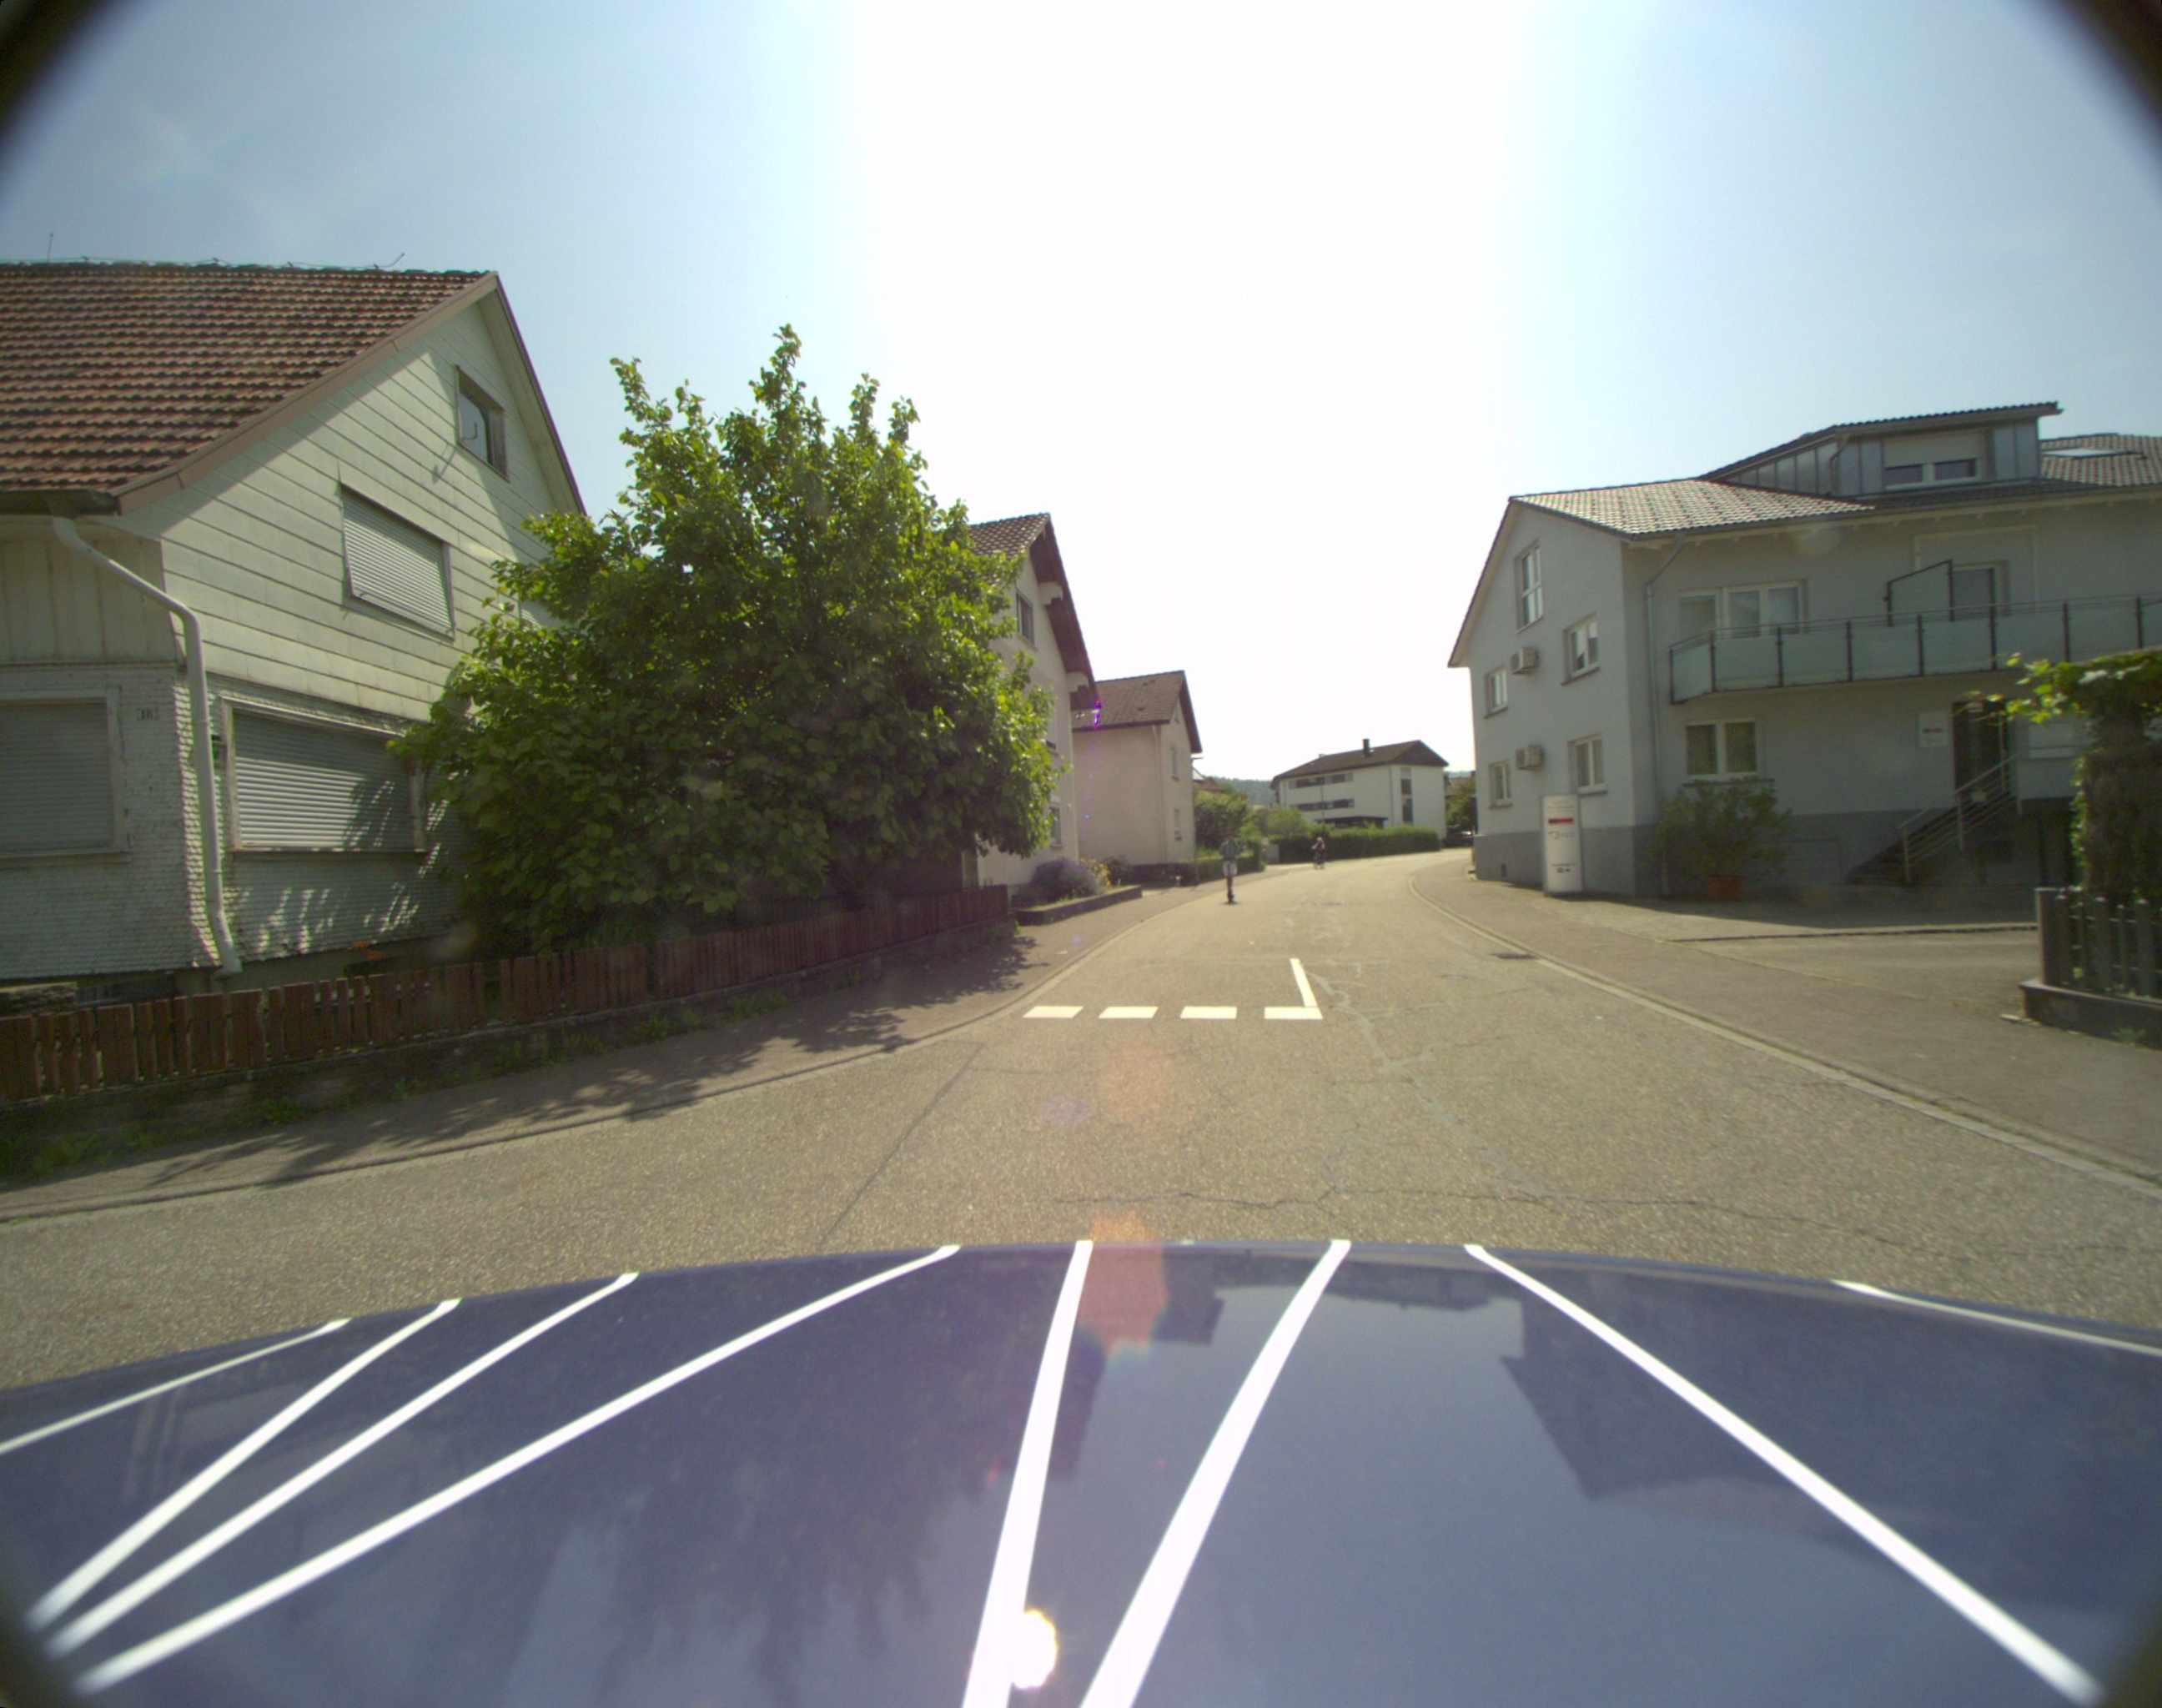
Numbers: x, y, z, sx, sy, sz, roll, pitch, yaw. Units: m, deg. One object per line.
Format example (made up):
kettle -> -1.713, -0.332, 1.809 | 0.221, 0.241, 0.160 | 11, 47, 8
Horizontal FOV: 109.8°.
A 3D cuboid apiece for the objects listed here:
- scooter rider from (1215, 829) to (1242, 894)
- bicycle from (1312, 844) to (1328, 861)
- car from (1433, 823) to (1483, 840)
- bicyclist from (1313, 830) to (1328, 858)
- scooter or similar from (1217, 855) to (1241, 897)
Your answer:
scooter rider -> 4.042, 0.189, 20.767 | 0.616, 1.714, 0.641 | -3, 2, 15
bicycle -> 13.022, -0.089, 41.353 | 0.520, 0.899, 1.315 | -2, 1, 30
car -> 39.784, -2.332, 80.281 | 2.069, 1.662, 4.280 | -4, 2, -41
bicyclist -> 13.046, -0.528, 41.421 | 0.546, 1.481, 0.798 | -2, 2, 30
scooter or similar -> 4.061, 0.604, 20.781 | 0.542, 1.083, 0.692 | -3, 1, 15
